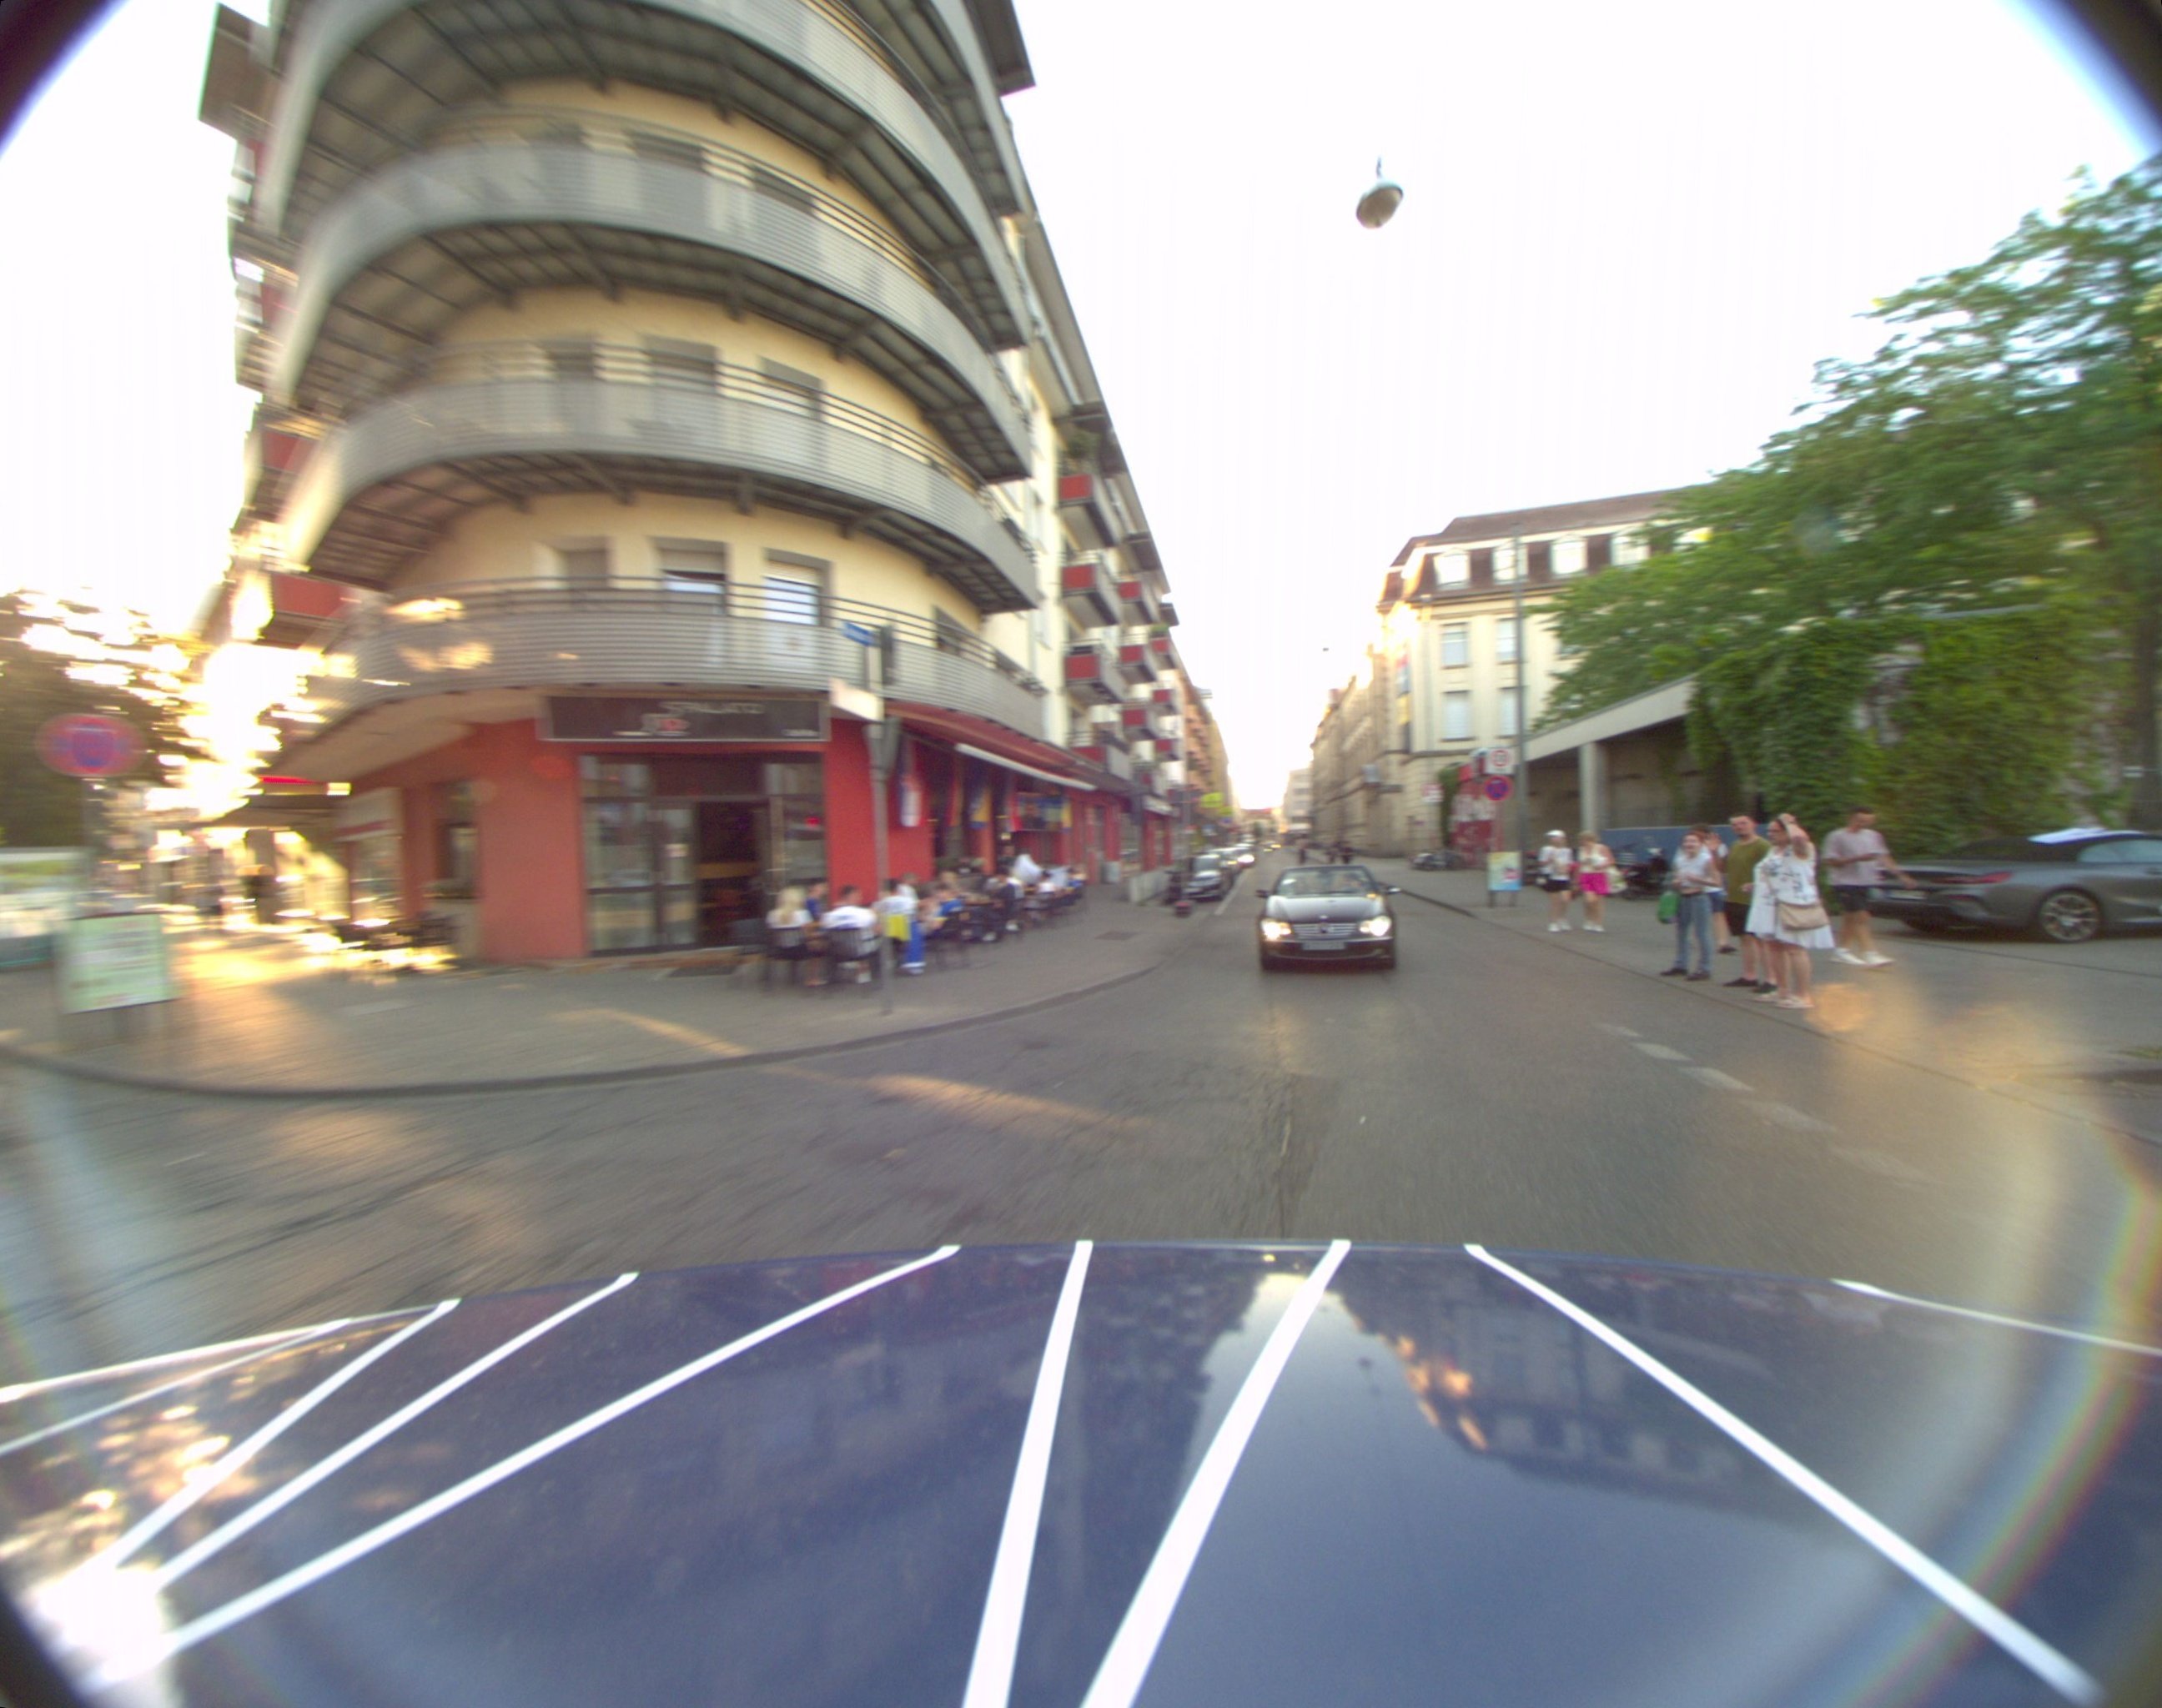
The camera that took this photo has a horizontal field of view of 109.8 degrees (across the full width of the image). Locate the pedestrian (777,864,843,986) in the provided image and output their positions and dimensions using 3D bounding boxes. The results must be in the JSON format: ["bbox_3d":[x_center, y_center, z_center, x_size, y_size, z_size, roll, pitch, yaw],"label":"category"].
[{"bbox_3d":[-3.683,0.925,10.308,0.715,1.527,0.851,-4,1,-21],"label":"pedestrian"}]

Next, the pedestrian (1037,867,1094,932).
[{"bbox_3d":[-0.336,0.958,16.390,0.876,1.298,0.854,0,2,33],"label":"pedestrian"}]

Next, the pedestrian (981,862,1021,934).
[{"bbox_3d":[-1.642,0.893,15.567,0.666,1.426,0.561,0,1,11],"label":"pedestrian"}]

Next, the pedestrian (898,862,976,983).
[{"bbox_3d":[-1.961,0.904,10.401,0.713,1.527,0.854,2,2,15],"label":"pedestrian"}]

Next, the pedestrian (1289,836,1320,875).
[{"bbox_3d":[10.942,0.087,37.229,1.008,1.816,0.945,-4,1,-12],"label":"pedestrian"}]

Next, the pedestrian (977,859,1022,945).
[{"bbox_3d":[-1.499,0.858,14.041,0.649,1.519,0.700,1,1,9],"label":"pedestrian"}]

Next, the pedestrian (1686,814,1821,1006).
[{"bbox_3d":[6.907,0.554,7.855,0.713,1.866,0.853,-3,1,19],"label":"pedestrian"}]

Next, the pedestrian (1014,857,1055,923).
[{"bbox_3d":[-1.145,0.852,18.535,0.853,1.527,0.714,-4,1,-9],"label":"pedestrian"}]

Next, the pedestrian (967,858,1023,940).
[{"bbox_3d":[-1.678,0.871,14.903,0.852,1.527,0.680,-3,1,10],"label":"pedestrian"}]

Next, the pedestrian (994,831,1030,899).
[{"bbox_3d":[-2.091,0.327,23.090,0.668,2.002,0.815,-2,1,23],"label":"pedestrian"}]

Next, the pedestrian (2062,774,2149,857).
[{"bbox_3d":[25.931,-0.955,19.249,0.831,2.002,1.067,-2,2,16],"label":"pedestrian"}]

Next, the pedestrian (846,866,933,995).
[{"bbox_3d":[-2.435,0.946,9.692,0.712,1.528,0.690,-1,3,30],"label":"pedestrian"}]

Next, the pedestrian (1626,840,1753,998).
[{"bbox_3d":[6.838,0.681,8.562,0.715,1.659,0.881,-3,2,-24],"label":"pedestrian"}]

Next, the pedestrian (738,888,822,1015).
[{"bbox_3d":[-3.444,1.077,8.765,0.686,1.275,0.966,-2,3,-12],"label":"pedestrian"}]

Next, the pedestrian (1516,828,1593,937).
[{"bbox_3d":[8.182,0.478,13.167,0.850,1.783,0.870,-3,1,15],"label":"pedestrian"}]

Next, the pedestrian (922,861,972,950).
[{"bbox_3d":[-2.383,0.899,13.559,0.674,1.527,0.655,0,1,11],"label":"pedestrian"}]

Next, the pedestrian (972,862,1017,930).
[{"bbox_3d":[-1.871,0.898,16.464,0.713,1.413,0.602,-3,1,12],"label":"pedestrian"}]

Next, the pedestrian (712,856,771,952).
[{"bbox_3d":[-7.321,1.062,16.396,0.813,2.002,0.670,-2,1,13],"label":"pedestrian"}]

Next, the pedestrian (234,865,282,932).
[{"bbox_3d":[-24.722,1.334,22.830,0.803,1.937,0.731,-2,2,31],"label":"pedestrian"}]

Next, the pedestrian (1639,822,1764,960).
[{"bbox_3d":[8.474,0.493,10.430,0.983,1.783,0.891,-3,1,15],"label":"pedestrian"}]

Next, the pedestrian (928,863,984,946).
[{"bbox_3d":[-2.334,0.933,14.264,0.768,1.495,0.784,-2,1,11],"label":"pedestrian"}]

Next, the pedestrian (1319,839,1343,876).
[{"bbox_3d":[12.154,0.159,36.956,0.919,1.717,0.703,-3,1,8],"label":"pedestrian"}]

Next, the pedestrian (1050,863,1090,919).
[{"bbox_3d":[-0.279,0.894,18.671,0.853,1.271,0.713,-2,4,-9],"label":"pedestrian"}]

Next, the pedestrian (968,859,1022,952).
[{"bbox_3d":[-1.493,0.875,13.251,0.713,1.527,0.760,2,1,9],"label":"pedestrian"}]

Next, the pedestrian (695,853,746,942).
[{"bbox_3d":[-7.369,0.884,15.561,0.611,1.766,0.618,-3,1,11],"label":"pedestrian"}]

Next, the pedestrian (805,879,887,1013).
[{"bbox_3d":[-2.649,1.012,8.660,0.771,1.374,0.838,-2,2,-13],"label":"pedestrian"}]

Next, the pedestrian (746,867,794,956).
[{"bbox_3d":[-6.384,1.167,15.639,0.611,1.766,0.618,-3,1,5],"label":"pedestrian"}]

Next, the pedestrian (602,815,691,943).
[{"bbox_3d":[-7.129,0.392,12.480,0.812,2.002,0.863,-2,1,28],"label":"pedestrian"}]

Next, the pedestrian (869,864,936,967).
[{"bbox_3d":[-2.828,0.950,12.009,0.649,1.527,0.751,-4,1,-44],"label":"pedestrian"}]

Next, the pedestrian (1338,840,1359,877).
[{"bbox_3d":[12.735,0.207,36.139,0.832,1.717,0.922,-2,1,21],"label":"pedestrian"}]

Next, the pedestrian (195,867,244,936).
[{"bbox_3d":[-25.151,1.371,22.178,0.738,1.937,0.731,-2,2,31],"label":"pedestrian"}]

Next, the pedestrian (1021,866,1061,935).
[{"bbox_3d":[-0.808,0.930,15.468,0.654,1.337,0.750,0,1,10],"label":"pedestrian"}]

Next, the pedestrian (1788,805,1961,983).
[{"bbox_3d":[8.918,0.438,8.600,0.983,1.872,0.891,-3,1,15],"label":"pedestrian"}]
